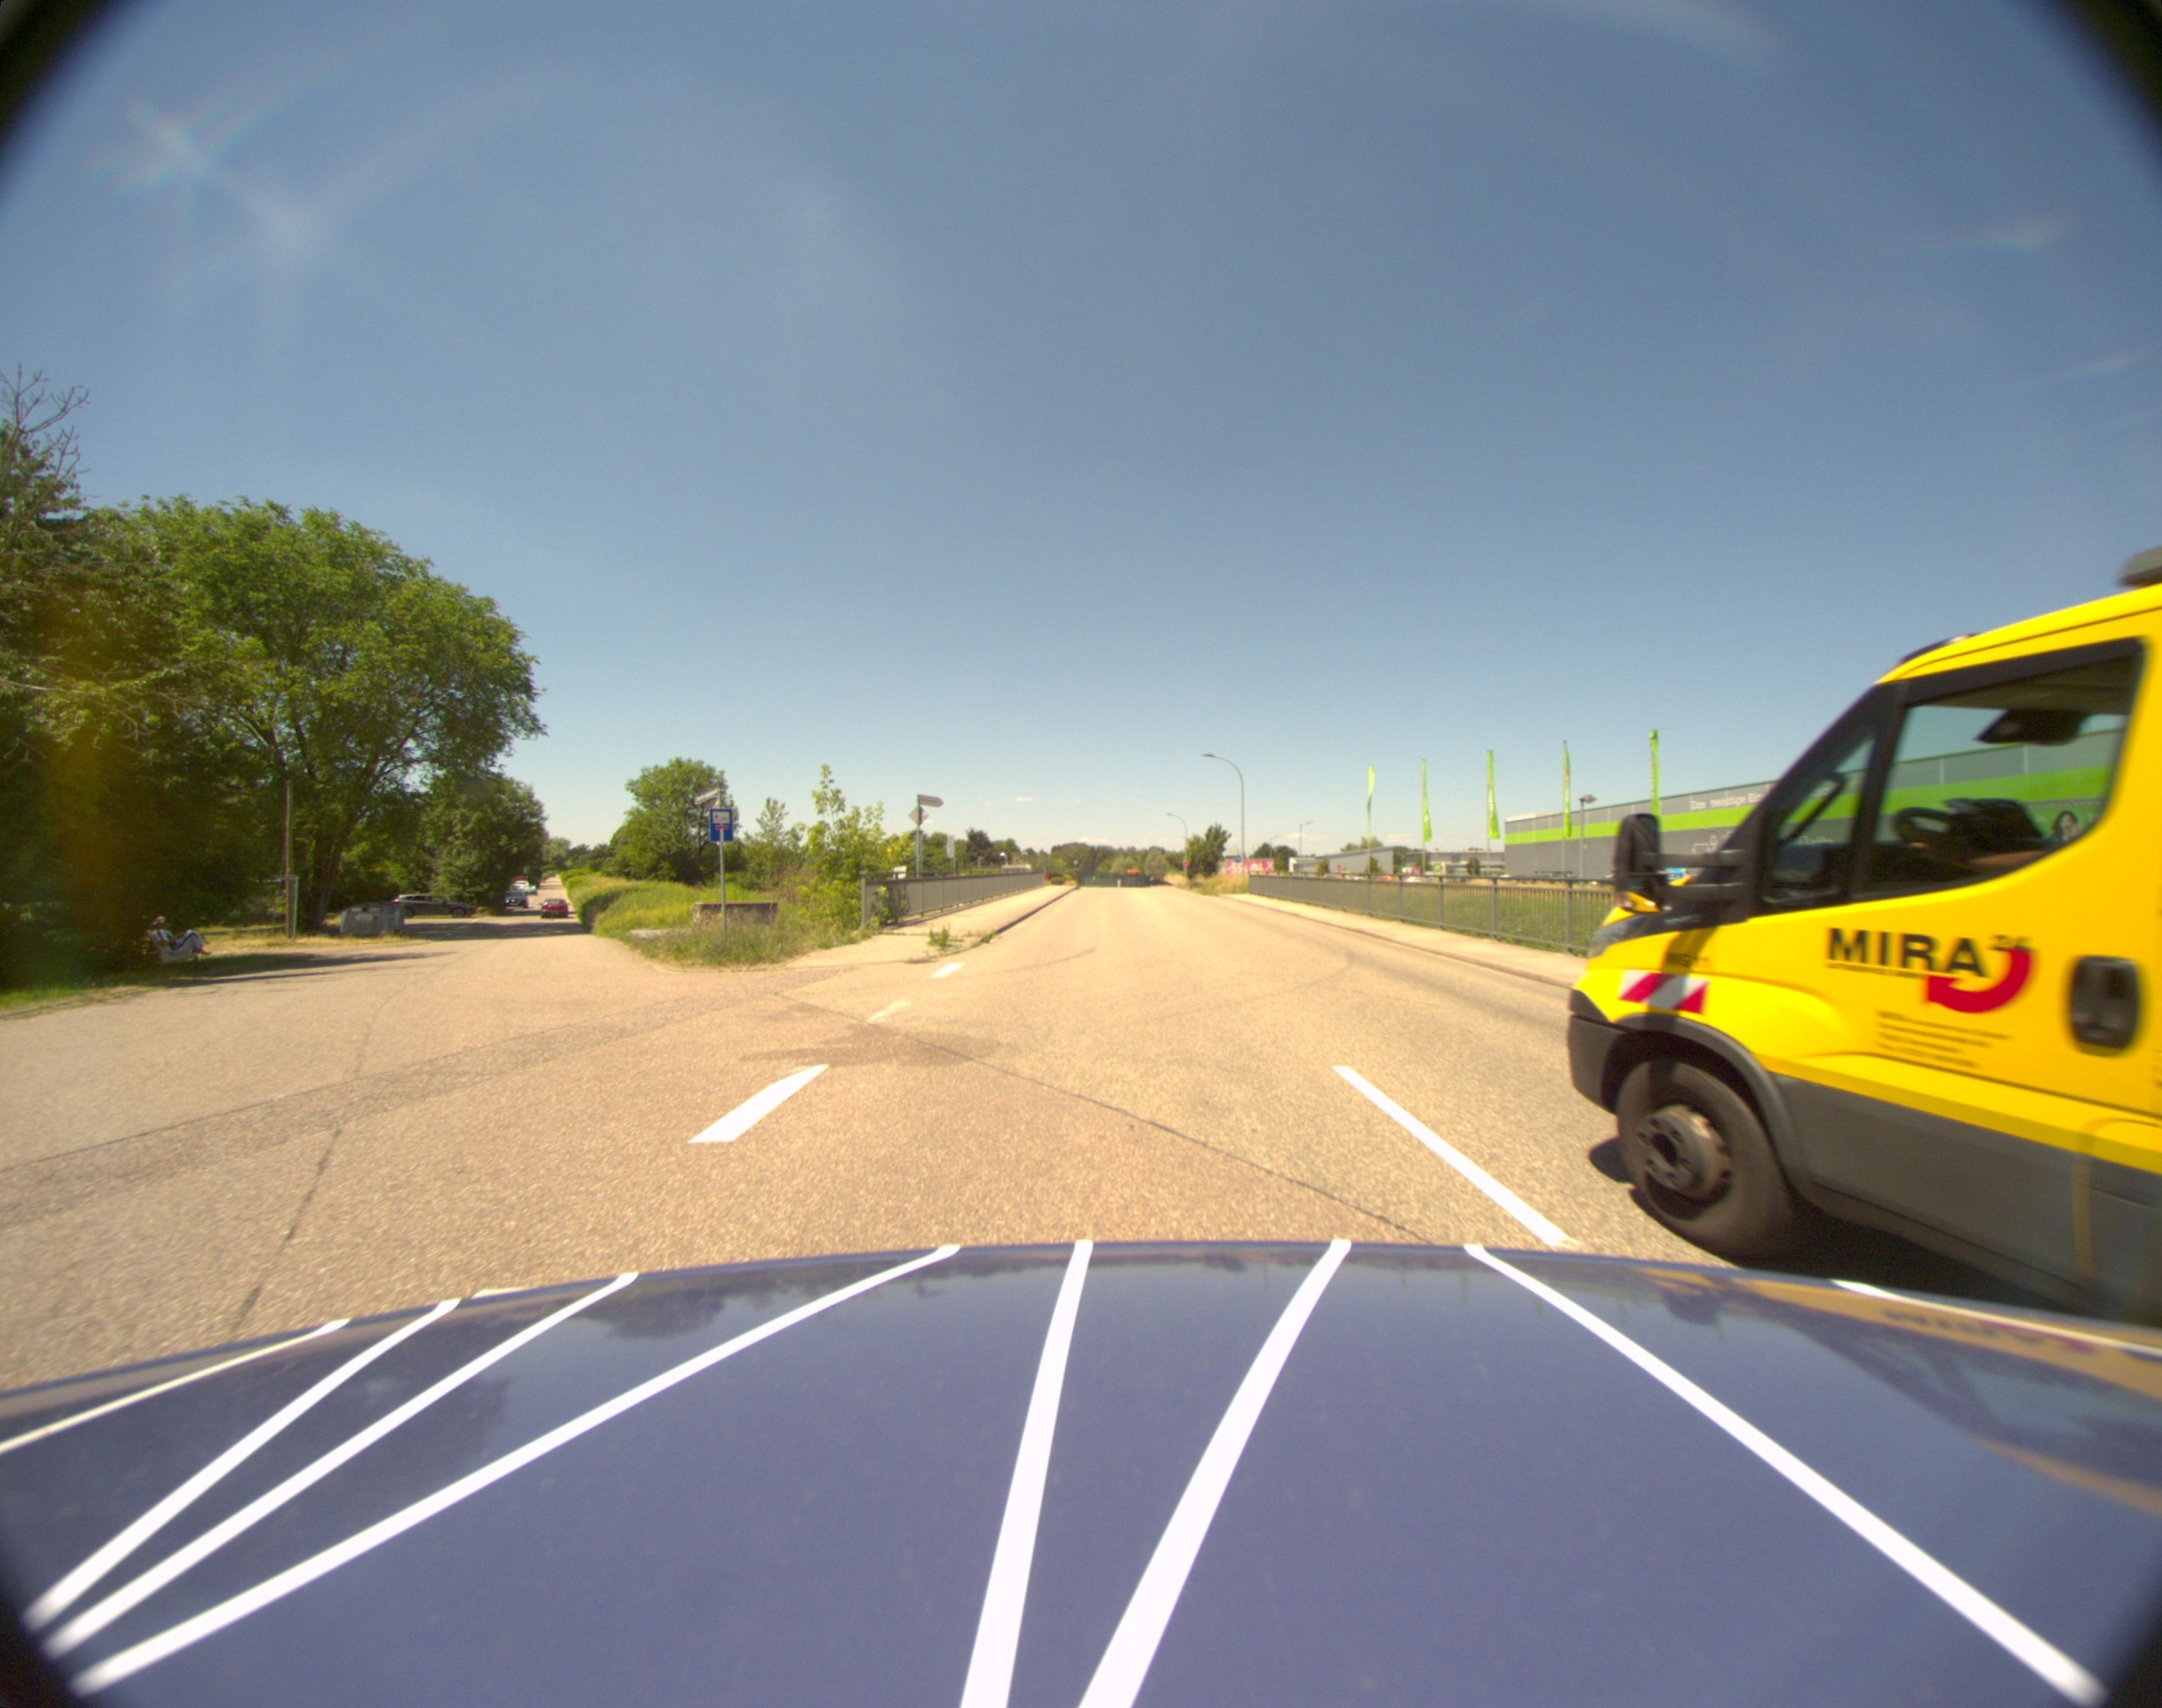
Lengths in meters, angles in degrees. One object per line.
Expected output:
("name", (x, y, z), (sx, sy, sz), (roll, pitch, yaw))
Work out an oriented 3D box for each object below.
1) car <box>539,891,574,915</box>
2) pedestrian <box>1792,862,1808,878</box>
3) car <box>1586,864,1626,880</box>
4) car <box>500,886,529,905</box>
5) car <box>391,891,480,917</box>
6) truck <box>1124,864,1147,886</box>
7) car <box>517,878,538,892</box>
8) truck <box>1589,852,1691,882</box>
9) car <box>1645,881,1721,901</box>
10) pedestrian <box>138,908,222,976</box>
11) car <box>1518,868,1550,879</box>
("car", (-38.519, 3.537, 55.758), (2.004, 1.614, 4.501), (1, -2, -35))
("pedestrian", (63.736, 1.405, 67.313), (0.639, 1.443, 0.766), (-1, -1, 3))
("car", (70.772, 2.441, 102.543), (3.993, 2.001, 1.913), (-2, -2, 12))
("car", (-51.745, 3.801, 69.424), (2.004, 1.614, 4.501), (1, -2, -35))
("car", (-44.332, 3.395, 52.321), (4.522, 1.614, 1.995), (2, -2, -36))
("truck", (11.023, 4.237, 152.675), (2.844, 4.170, 8.145), (-2, -2, 15))
("car", (-78.842, 4.415, 108.251), (2.285, 2.021, 4.781), (1, -2, -35))
("truck", (54.578, 1.355, 74.337), (7.756, 2.667, 2.969), (-2, -3, 40))
("car", (44.504, 2.733, 56.262), (3.995, 1.428, 1.848), (-1, -2, 5))
("pedestrian", (-19.204, 1.853, 16.214), (0.681, 1.384, 0.852), (2, -3, 14))
("car", (72.858, 3.157, 122.281), (3.995, 1.728, 2.001), (-1, -1, 7))
